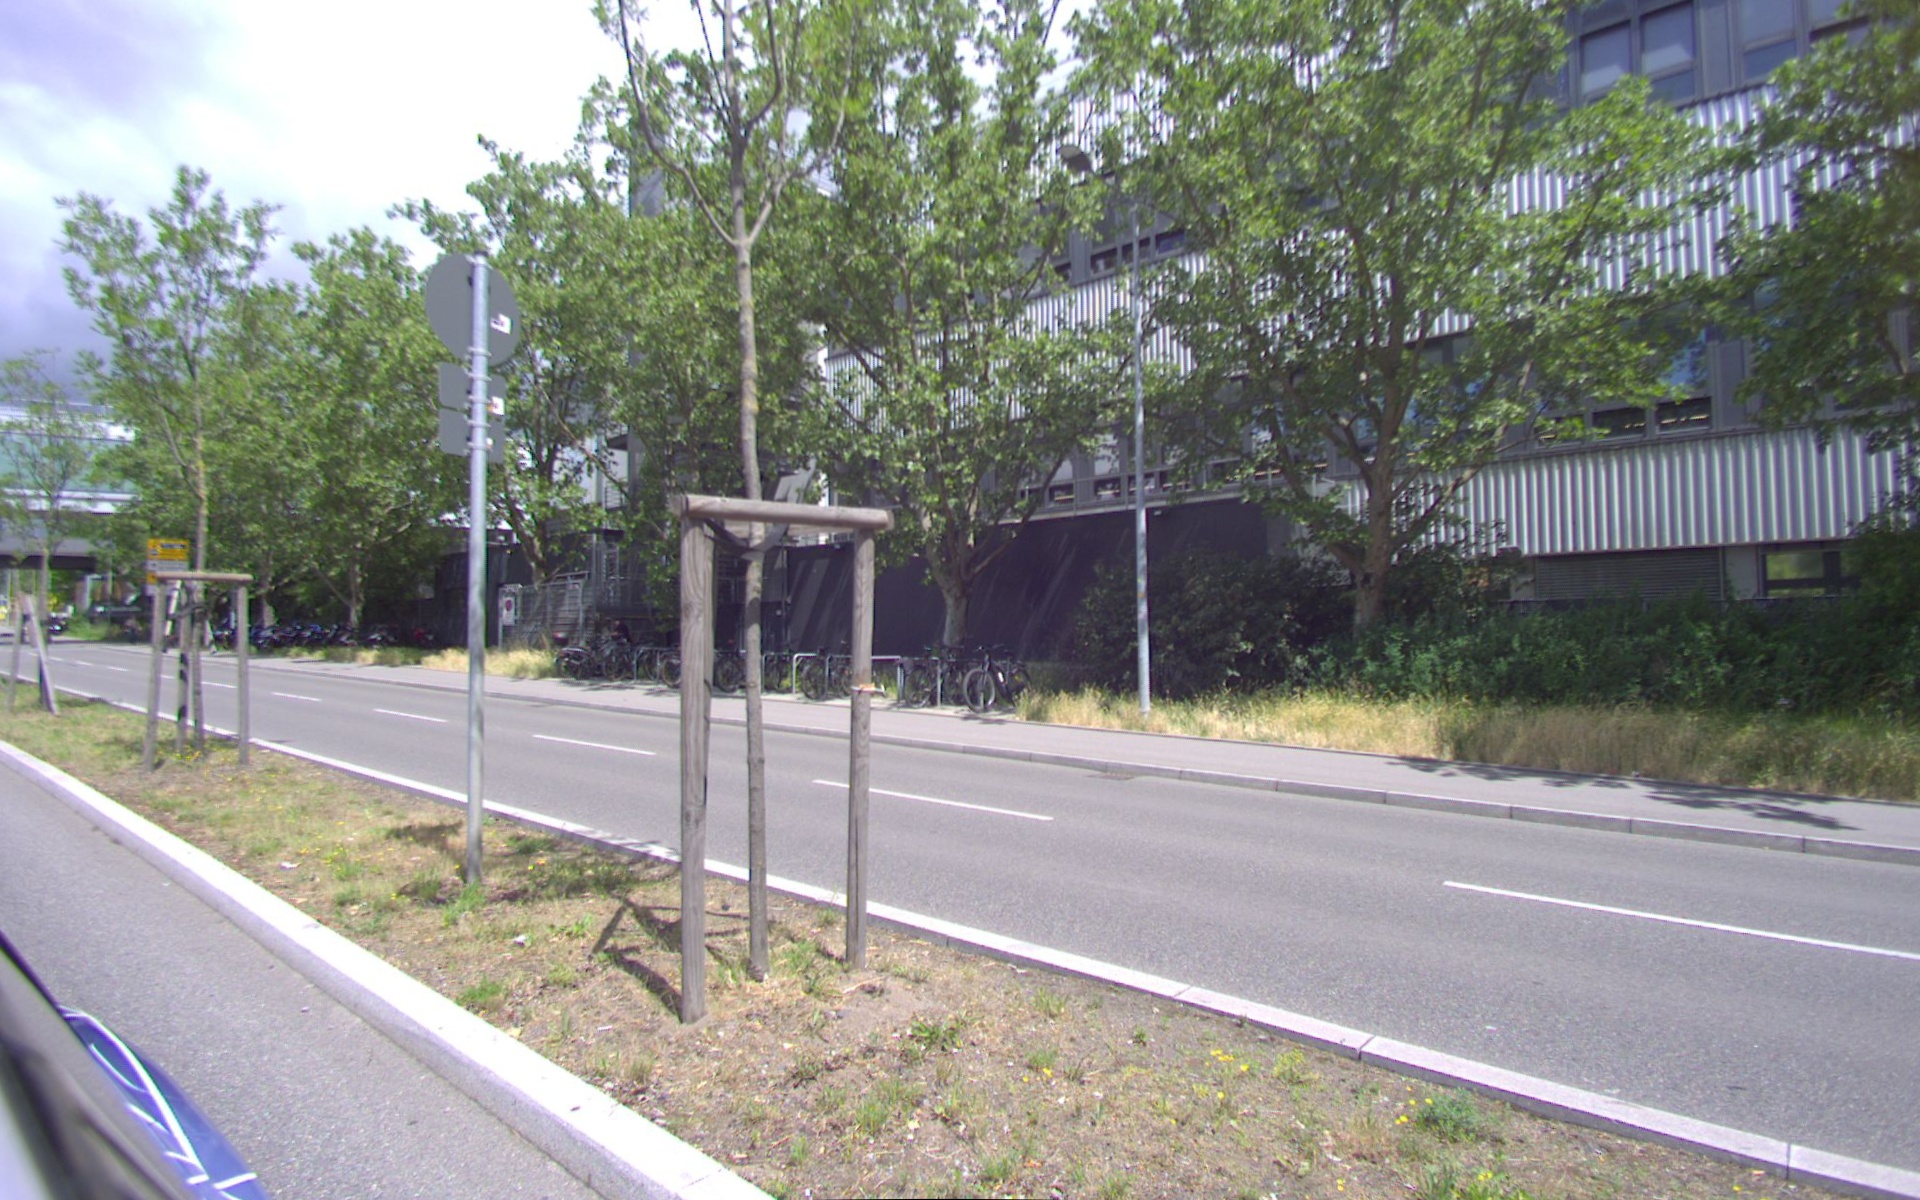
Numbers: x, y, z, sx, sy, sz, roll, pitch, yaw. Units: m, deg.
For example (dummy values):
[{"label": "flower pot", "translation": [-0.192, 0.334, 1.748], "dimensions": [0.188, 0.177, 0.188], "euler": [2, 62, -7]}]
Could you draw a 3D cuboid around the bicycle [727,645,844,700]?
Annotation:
[{"label": "bicycle", "translation": [-3.683, 1.507, 21.662], "dimensions": [0.848, 1.014, 2.814], "euler": [-1, -1, 31]}]

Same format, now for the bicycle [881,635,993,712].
[{"label": "bicycle", "translation": [-0.377, 1.286, 18.231], "dimensions": [0.555, 1.267, 2.379], "euler": [-2, -2, 42]}]

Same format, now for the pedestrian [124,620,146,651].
[{"label": "pedestrian", "translation": [-44.334, 1.879, 54.393], "dimensions": [0.812, 1.624, 0.760], "euler": [-1, 1, 39]}]

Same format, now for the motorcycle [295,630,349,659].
[{"label": "motorcycle", "translation": [-26.445, 1.844, 41.949], "dimensions": [1.853, 1.093, 0.796], "euler": [-2, -1, -35]}]

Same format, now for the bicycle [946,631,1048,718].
[{"label": "bicycle", "translation": [0.666, 1.241, 17.369], "dimensions": [0.489, 1.374, 2.144], "euler": [-2, -2, 42]}]

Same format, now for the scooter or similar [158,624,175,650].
[{"label": "scooter or similar", "translation": [-39.218, 1.837, 49.993], "dimensions": [1.478, 1.245, 0.350], "euler": [0, 0, 40]}]

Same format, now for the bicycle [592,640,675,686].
[{"label": "bicycle", "translation": [-8.178, 1.558, 25.398], "dimensions": [0.497, 1.070, 2.060], "euler": [-1, -1, 38]}]

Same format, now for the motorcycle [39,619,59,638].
[{"label": "motorcycle", "translation": [-63.031, 1.967, 70.018], "dimensions": [2.255, 1.207, 0.633], "euler": [0, 1, 39]}]

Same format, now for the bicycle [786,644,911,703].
[{"label": "bicycle", "translation": [-2.215, 1.441, 20.350], "dimensions": [2.532, 1.104, 0.697], "euler": [2, -3, -40]}]

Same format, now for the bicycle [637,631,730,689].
[{"label": "bicycle", "translation": [-6.624, 1.411, 24.346], "dimensions": [0.805, 1.292, 2.113], "euler": [-1, -1, 38]}]

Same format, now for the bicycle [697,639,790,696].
[{"label": "bicycle", "translation": [-4.650, 1.426, 21.889], "dimensions": [0.805, 1.131, 1.899], "euler": [-1, -1, 38]}]

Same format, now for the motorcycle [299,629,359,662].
[{"label": "motorcycle", "translation": [-24.448, 1.754, 39.218], "dimensions": [1.855, 1.182, 0.746], "euler": [-2, -1, -41]}]

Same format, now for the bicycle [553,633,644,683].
[{"label": "bicycle", "translation": [-9.261, 1.456, 26.000], "dimensions": [0.805, 1.189, 2.113], "euler": [-1, -1, 38]}]

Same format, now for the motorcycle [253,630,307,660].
[{"label": "motorcycle", "translation": [-29.467, 1.927, 43.857], "dimensions": [1.855, 1.188, 0.816], "euler": [-2, -1, -41]}]

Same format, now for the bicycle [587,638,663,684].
[{"label": "bicycle", "translation": [-8.501, 1.533, 25.744], "dimensions": [0.422, 1.083, 1.905], "euler": [-1, -1, 38]}]

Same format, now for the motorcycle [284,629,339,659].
[{"label": "motorcycle", "translation": [-27.952, 1.873, 43.612], "dimensions": [0.698, 1.188, 1.857], "euler": [-3, -1, 43]}]

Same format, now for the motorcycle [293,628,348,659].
[{"label": "motorcycle", "translation": [-27.047, 1.828, 42.827], "dimensions": [0.655, 1.219, 1.857], "euler": [-3, -1, 43]}]

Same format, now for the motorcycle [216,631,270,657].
[{"label": "motorcycle", "translation": [-34.238, 2.081, 48.360], "dimensions": [1.904, 1.124, 0.924], "euler": [-2, -1, -23]}]

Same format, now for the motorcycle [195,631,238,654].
[{"label": "motorcycle", "translation": [-37.277, 2.135, 50.728], "dimensions": [0.776, 1.041, 1.574], "euler": [-3, -1, 41]}]

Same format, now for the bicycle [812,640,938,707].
[{"label": "bicycle", "translation": [-1.629, 1.400, 19.745], "dimensions": [2.533, 1.166, 0.645], "euler": [0, -1, -40]}]

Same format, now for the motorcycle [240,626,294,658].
[{"label": "motorcycle", "translation": [-31.376, 1.898, 45.830], "dimensions": [1.905, 1.354, 0.867], "euler": [-2, -1, -29]}]

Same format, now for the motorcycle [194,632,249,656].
[{"label": "motorcycle", "translation": [-35.823, 2.140, 49.097], "dimensions": [0.917, 1.124, 1.919], "euler": [0, -3, 28]}]

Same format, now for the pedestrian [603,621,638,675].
[{"label": "pedestrian", "translation": [-10.112, 1.421, 30.129], "dimensions": [0.744, 1.563, 0.822], "euler": [0, -1, -40]}]

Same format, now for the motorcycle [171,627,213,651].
[{"label": "motorcycle", "translation": [-40.887, 2.091, 53.870], "dimensions": [1.721, 1.180, 0.777], "euler": [-2, -1, -42]}]

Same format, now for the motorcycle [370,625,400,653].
[{"label": "motorcycle", "translation": [-26.321, 1.788, 46.305], "dimensions": [1.983, 1.219, 0.645], "euler": [-3, -1, 45]}]

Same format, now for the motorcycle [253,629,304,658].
[{"label": "motorcycle", "translation": [-30.210, 1.911, 44.857], "dimensions": [1.853, 1.188, 0.817], "euler": [-2, -1, -35]}]

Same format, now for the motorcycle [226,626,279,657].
[{"label": "motorcycle", "translation": [-33.018, 1.933, 47.262], "dimensions": [1.905, 1.300, 0.895], "euler": [-2, -1, -29]}]

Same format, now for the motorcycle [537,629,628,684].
[{"label": "motorcycle", "translation": [-9.746, 1.429, 26.188], "dimensions": [0.805, 1.319, 2.113], "euler": [-1, -1, 38]}]

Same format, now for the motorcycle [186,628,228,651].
[{"label": "motorcycle", "translation": [-39.177, 2.058, 52.677], "dimensions": [0.773, 1.131, 1.579], "euler": [-3, -1, 31]}]

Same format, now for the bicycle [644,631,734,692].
[{"label": "bicycle", "translation": [-6.203, 1.384, 23.249], "dimensions": [0.805, 1.292, 1.899], "euler": [-1, -1, 38]}]

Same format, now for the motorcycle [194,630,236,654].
[{"label": "motorcycle", "translation": [-38.142, 2.165, 51.831], "dimensions": [0.776, 1.131, 1.574], "euler": [-3, -1, 41]}]

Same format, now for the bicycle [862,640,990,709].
[{"label": "bicycle", "translation": [-0.619, 1.388, 19.307], "dimensions": [2.533, 1.166, 0.727], "euler": [0, -1, -40]}]

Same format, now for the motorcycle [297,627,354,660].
[{"label": "motorcycle", "translation": [-25.641, 1.751, 40.901], "dimensions": [1.855, 1.195, 0.730], "euler": [-2, 0, -42]}]

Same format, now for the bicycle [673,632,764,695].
[{"label": "bicycle", "translation": [-5.365, 1.380, 22.578], "dimensions": [0.805, 1.292, 1.899], "euler": [-1, -1, 38]}]
